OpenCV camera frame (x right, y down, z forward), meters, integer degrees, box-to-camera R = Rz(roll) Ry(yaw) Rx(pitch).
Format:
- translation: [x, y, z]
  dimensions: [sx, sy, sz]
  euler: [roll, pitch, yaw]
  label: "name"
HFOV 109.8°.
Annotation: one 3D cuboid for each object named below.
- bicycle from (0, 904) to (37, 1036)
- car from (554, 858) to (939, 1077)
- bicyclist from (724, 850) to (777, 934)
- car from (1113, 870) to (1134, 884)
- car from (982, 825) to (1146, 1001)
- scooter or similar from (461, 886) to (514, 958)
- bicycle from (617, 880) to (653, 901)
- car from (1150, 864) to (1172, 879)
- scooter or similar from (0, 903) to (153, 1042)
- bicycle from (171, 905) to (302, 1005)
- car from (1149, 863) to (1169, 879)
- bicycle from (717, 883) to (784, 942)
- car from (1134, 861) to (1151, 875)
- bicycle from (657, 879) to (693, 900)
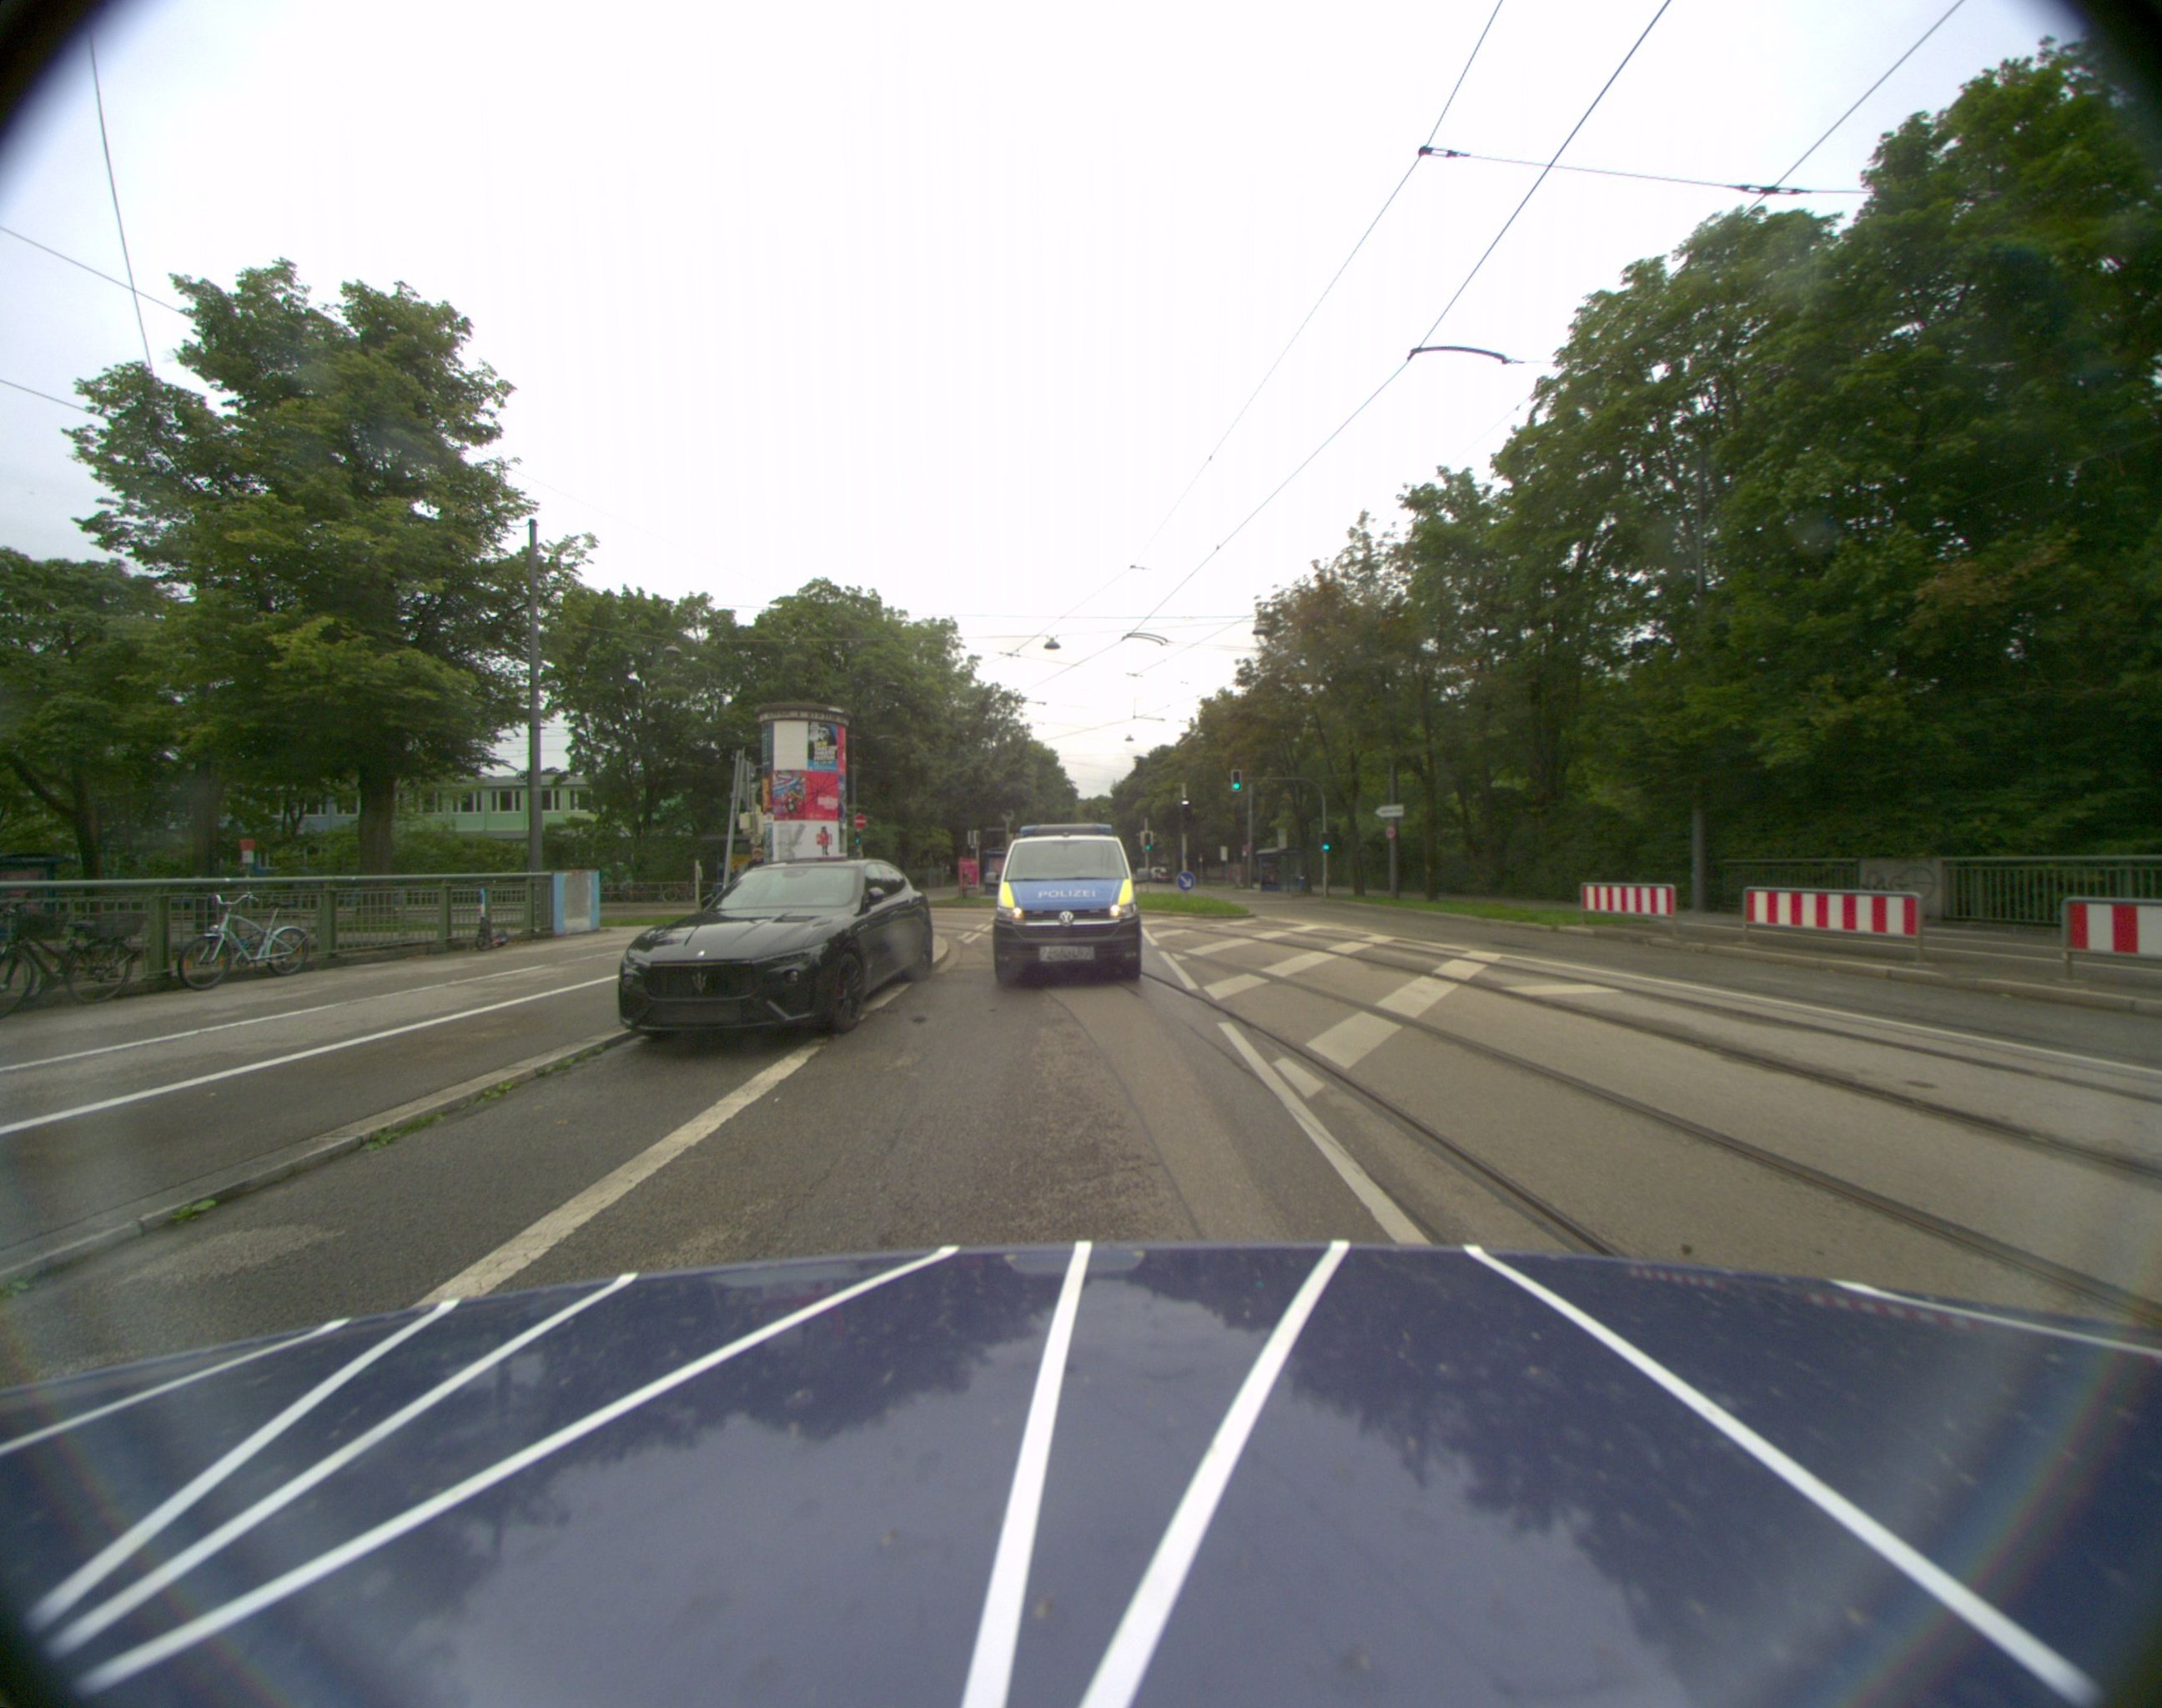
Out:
- translation: [-10.603, 1.144, 7.042]
  dimensions: [0.283, 1.274, 1.408]
  euler: [-3, 0, -19]
  label: "bicycle"
- translation: [-2.998, 0.893, 8.138]
  dimensions: [1.905, 1.600, 4.665]
  euler: [-3, -1, 1]
  label: "car"
- translation: [-6.981, 0.782, 16.085]
  dimensions: [0.726, 1.719, 0.726]
  euler: [-3, 1, 0]
  label: "bicyclist"
- translation: [4.300, 2.358, 78.069]
  dimensions: [1.628, 1.380, 4.839]
  euler: [1, -1, -3]
  label: "car"
- translation: [-0.244, 0.695, 11.757]
  dimensions: [1.903, 2.041, 5.708]
  euler: [-1, 0, -1]
  label: "car"
- translation: [-10.653, 1.197, 13.669]
  dimensions: [0.225, 1.205, 1.020]
  euler: [-3, 0, -8]
  label: "scooter or similar"
- translation: [-20.957, 1.722, 35.690]
  dimensions: [1.483, 0.946, 0.373]
  euler: [-1, 1, 3]
  label: "bicycle"
- translation: [8.938, 1.957, 85.277]
  dimensions: [1.888, 1.531, 3.999]
  euler: [-3, 0, -1]
  label: "car"
- translation: [-10.598, 1.186, 8.035]
  dimensions: [0.245, 1.255, 1.493]
  euler: [-3, 0, -22]
  label: "scooter or similar"
- translation: [-10.753, 1.244, 9.736]
  dimensions: [0.265, 1.076, 1.540]
  euler: [-3, 0, -14]
  label: "bicycle"
- translation: [9.308, 2.001, 91.007]
  dimensions: [1.888, 1.716, 3.999]
  euler: [-3, 0, -1]
  label: "car"
- translation: [-6.970, 1.205, 16.104]
  dimensions: [0.580, 1.072, 1.912]
  euler: [1, 0, 0]
  label: "bicycle"
- translation: [8.573, 1.933, 105.670]
  dimensions: [1.888, 1.716, 3.999]
  euler: [-3, 0, -1]
  label: "car"
- translation: [-18.877, 1.644, 35.363]
  dimensions: [1.483, 0.946, 0.373]
  euler: [-1, 1, 3]
  label: "bicycle"
